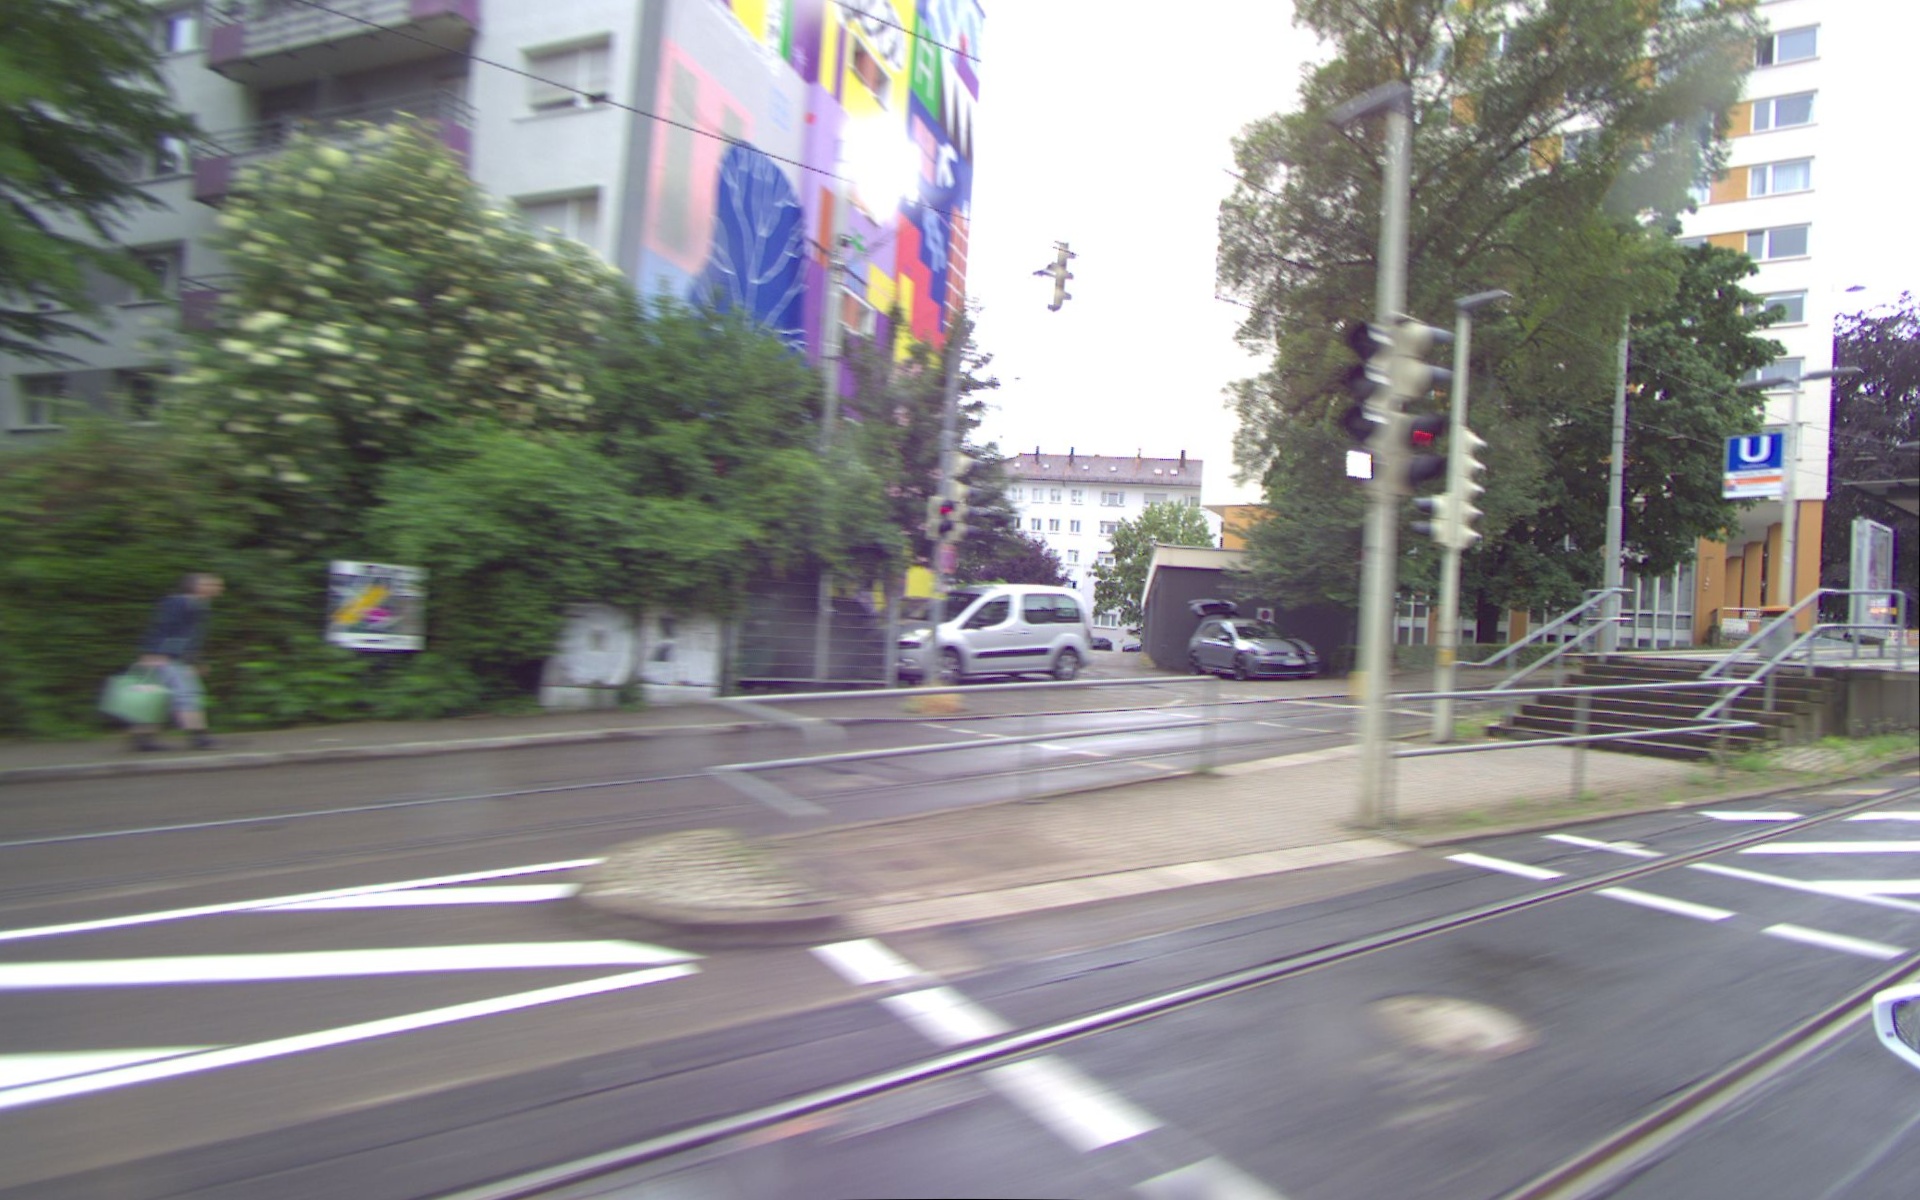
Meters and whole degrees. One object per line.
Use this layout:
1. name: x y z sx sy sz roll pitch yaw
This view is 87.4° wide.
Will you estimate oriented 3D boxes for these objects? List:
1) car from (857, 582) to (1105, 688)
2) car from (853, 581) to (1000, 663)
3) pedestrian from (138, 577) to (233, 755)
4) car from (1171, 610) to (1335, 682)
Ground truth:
1. car: 0.454 0.619 18.456 4.398 1.740 1.735 1 -1 -36
2. car: -0.676 0.567 23.335 1.679 1.659 3.951 1 -3 27
3. pedestrian: -7.383 0.599 9.602 0.610 1.615 0.749 1 1 -31
4. car: 7.033 1.054 24.641 1.911 1.563 4.482 1 -1 -13
